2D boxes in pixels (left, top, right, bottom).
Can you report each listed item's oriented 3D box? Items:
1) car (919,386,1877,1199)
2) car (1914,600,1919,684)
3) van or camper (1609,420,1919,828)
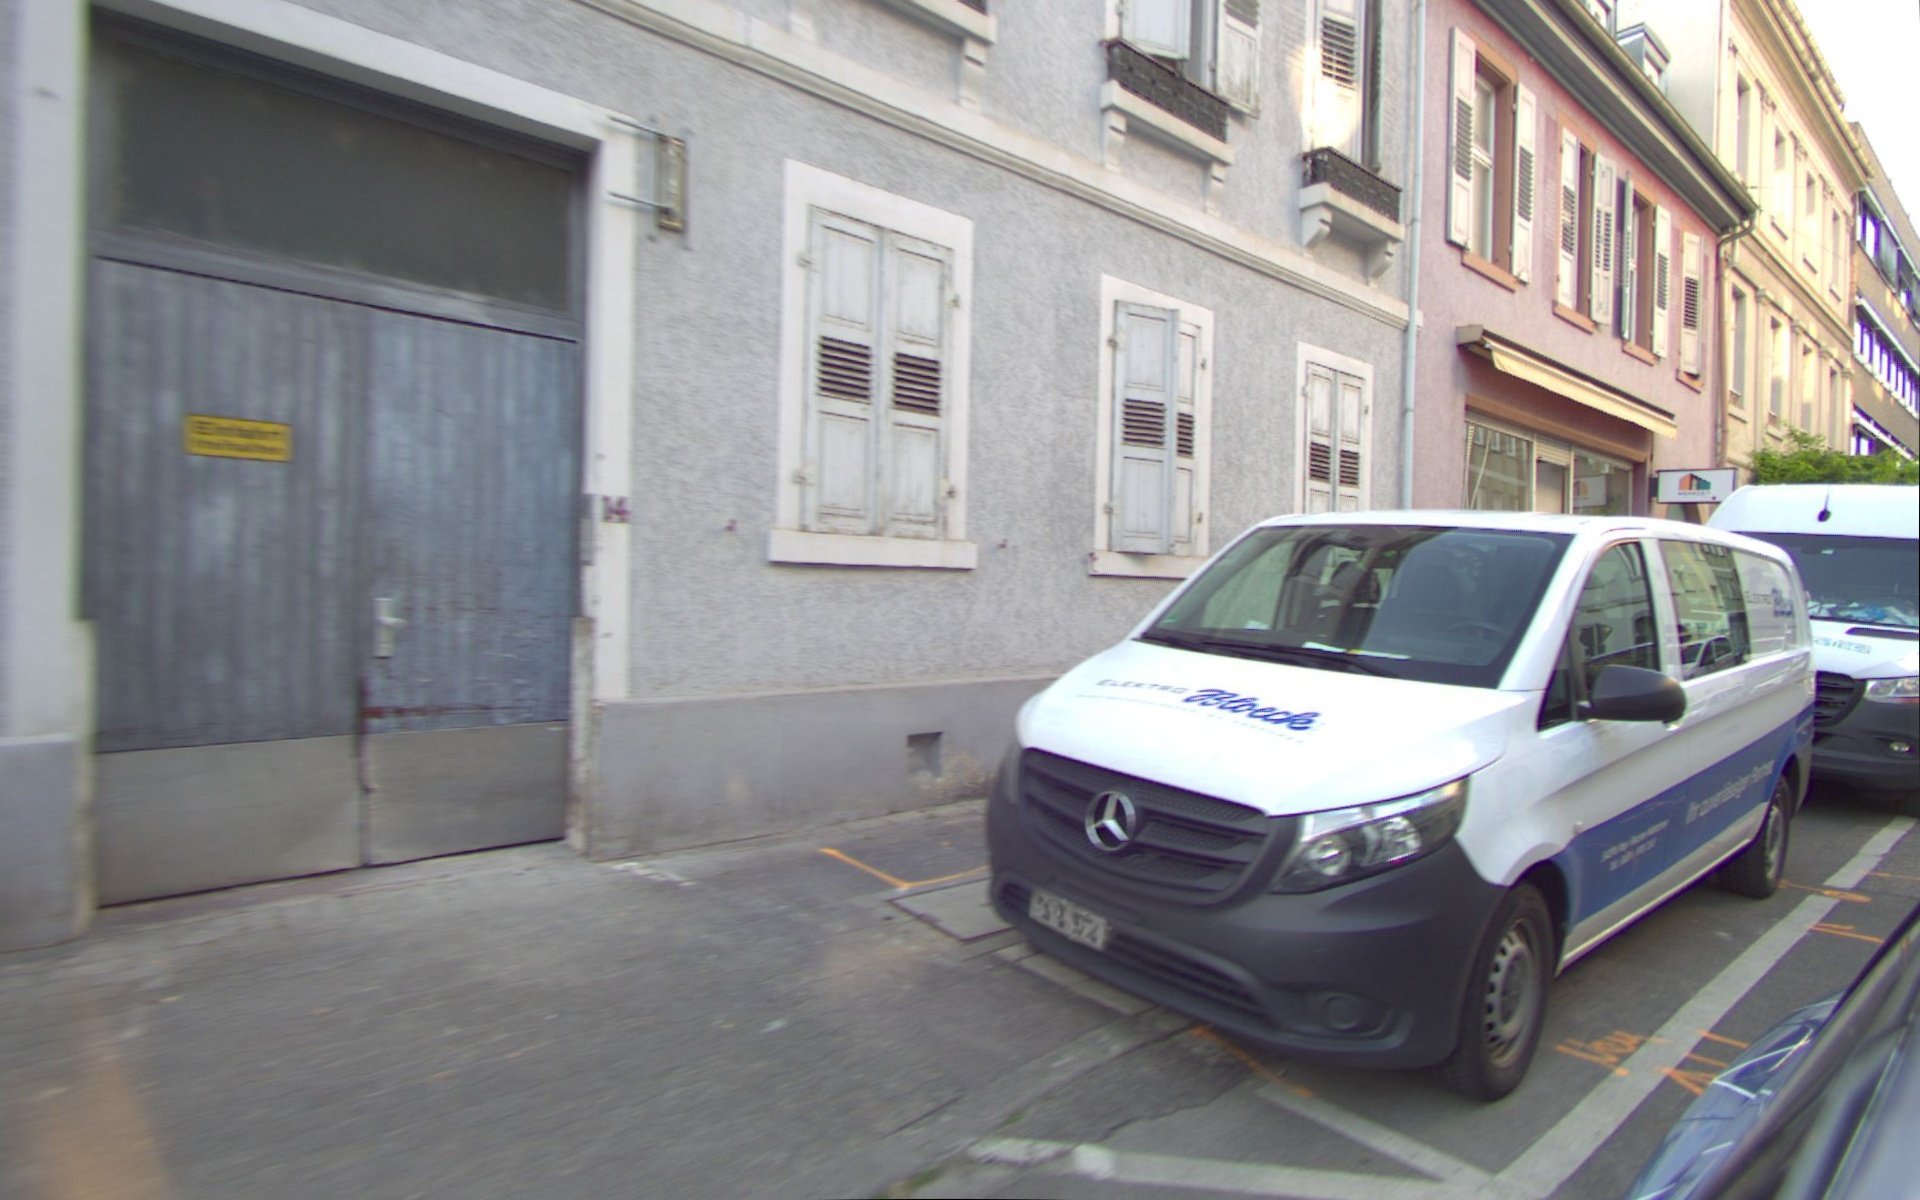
[{"bbox_3d":[2.493,0.395,4.758,5.224,1.917,1.946,0,5,-41],"label":"car"},{"bbox_3d":[19.429,0.802,19.204,3.690,1.524,1.657,1,1,-43],"label":"car"},{"bbox_3d":[8.488,0.157,9.438,6.936,2.670,2.055,1,1,-40],"label":"van or camper"}]
